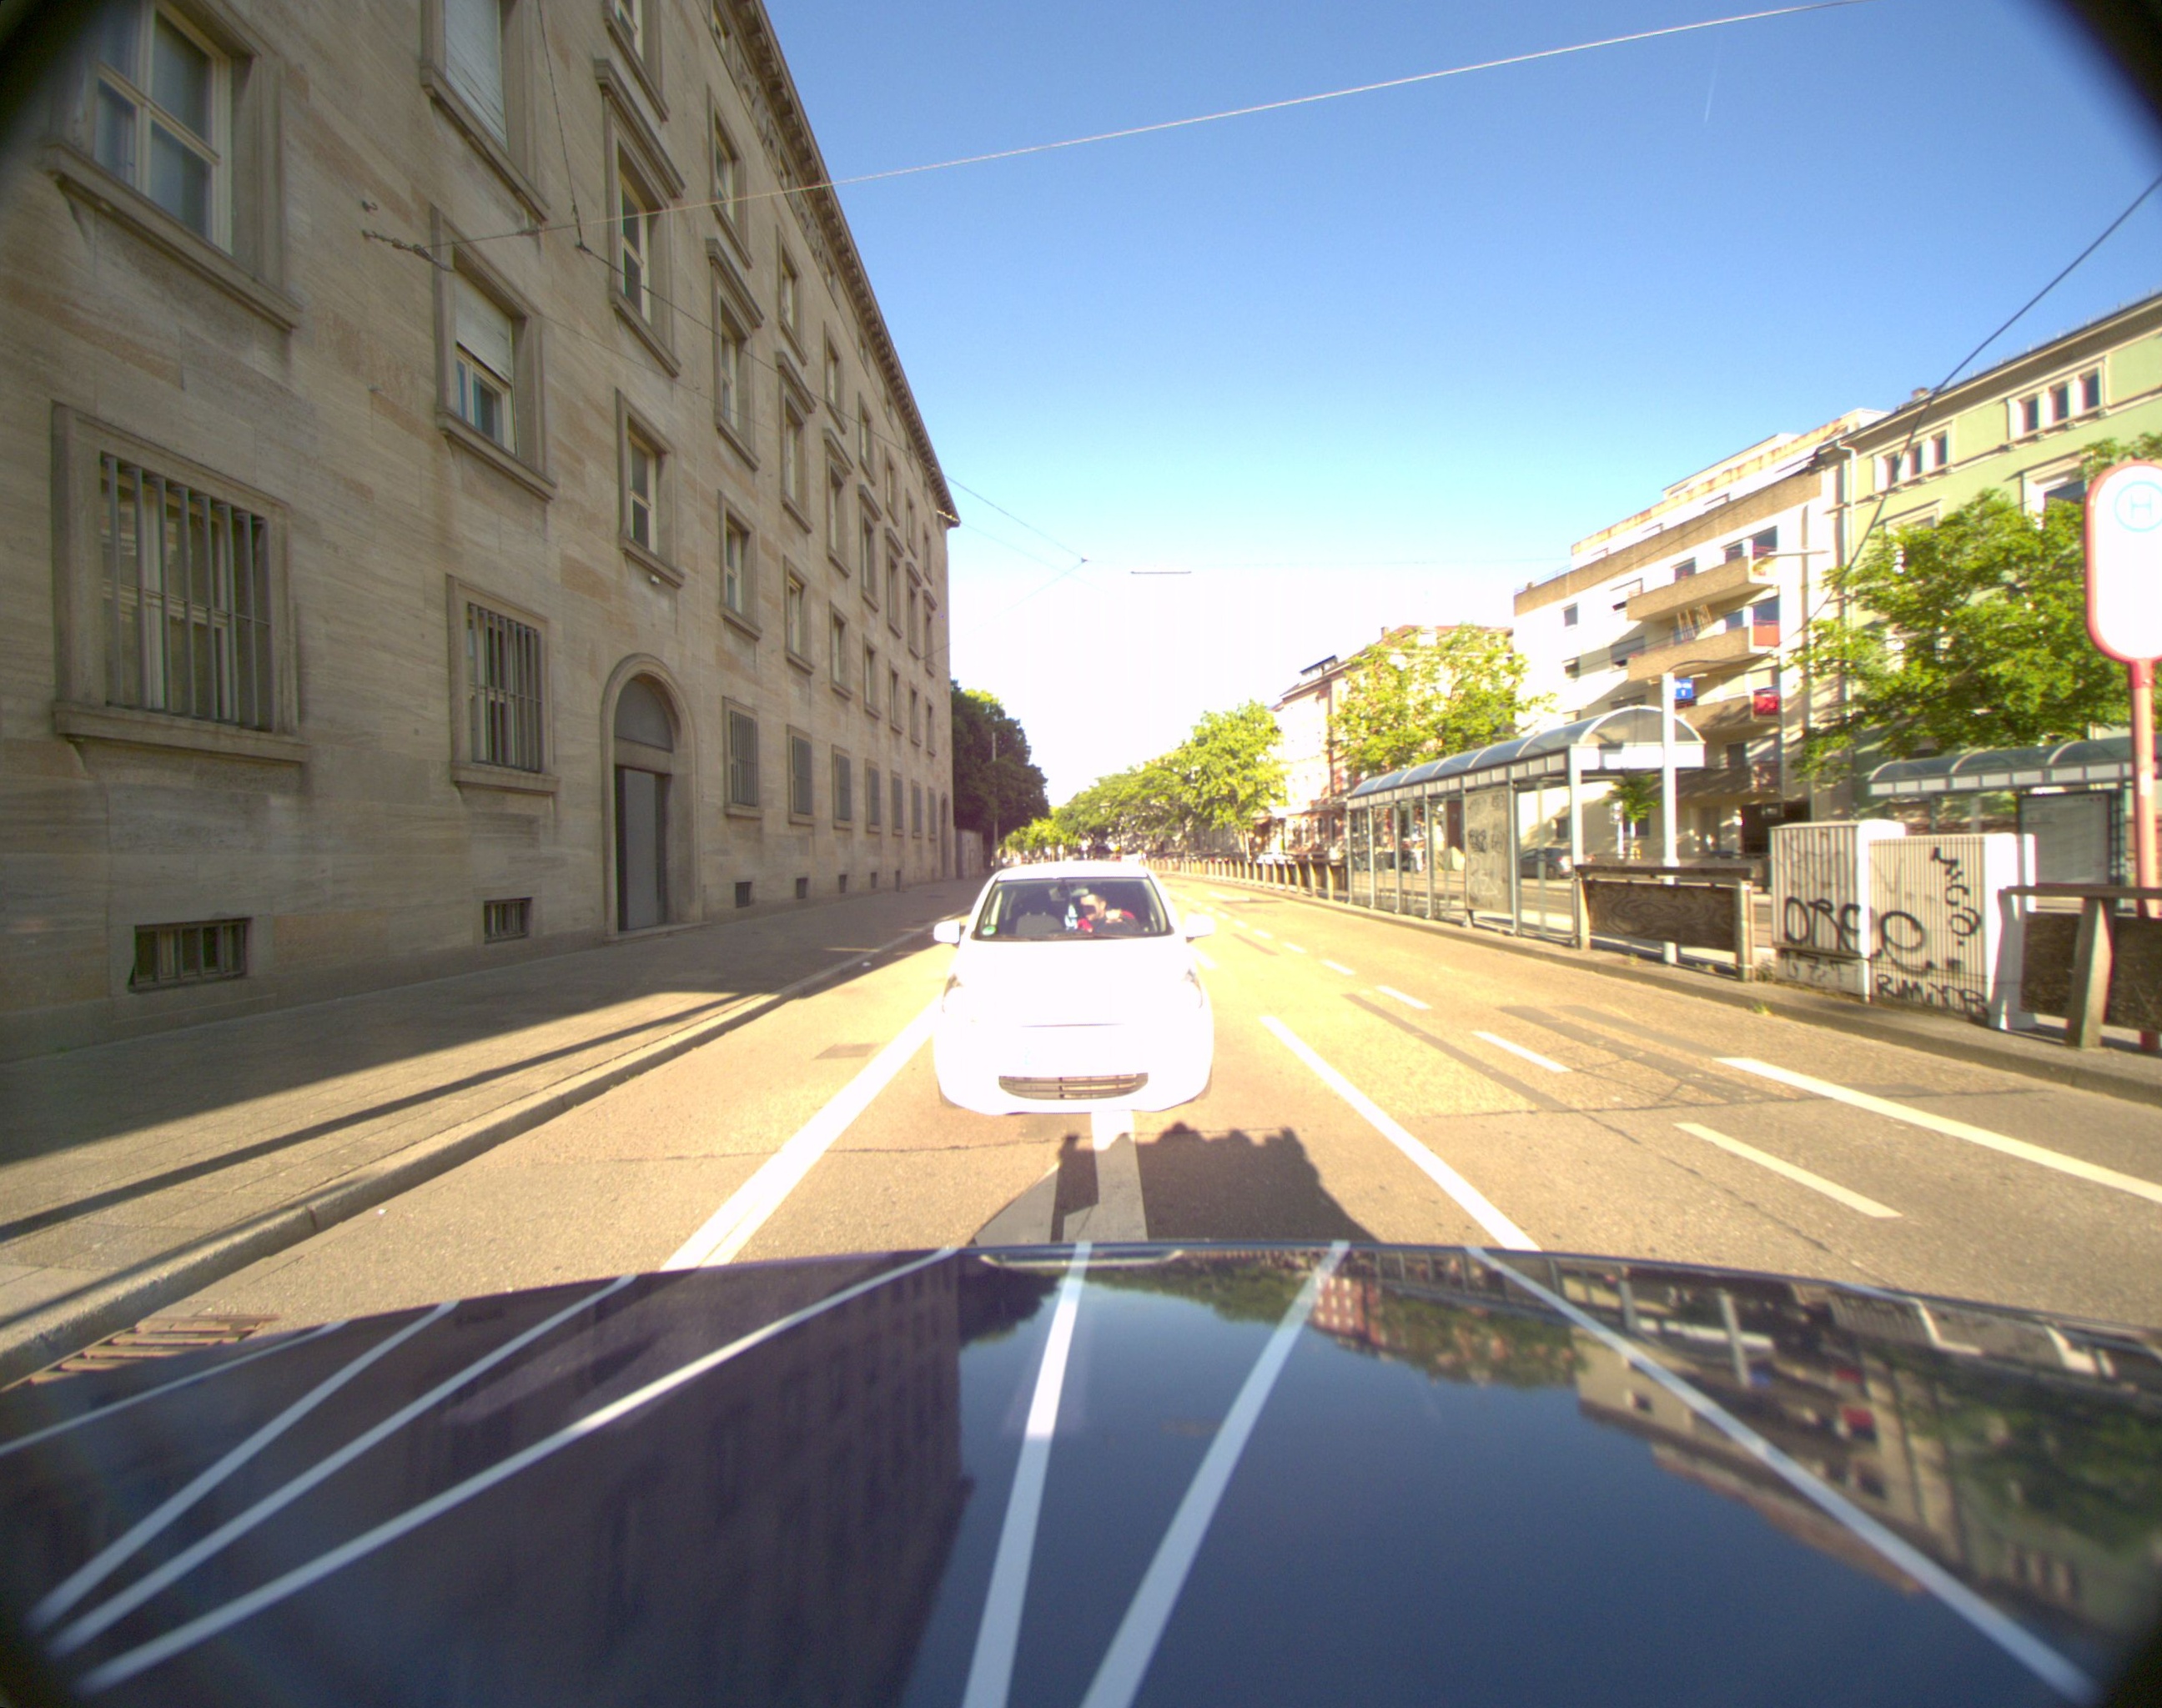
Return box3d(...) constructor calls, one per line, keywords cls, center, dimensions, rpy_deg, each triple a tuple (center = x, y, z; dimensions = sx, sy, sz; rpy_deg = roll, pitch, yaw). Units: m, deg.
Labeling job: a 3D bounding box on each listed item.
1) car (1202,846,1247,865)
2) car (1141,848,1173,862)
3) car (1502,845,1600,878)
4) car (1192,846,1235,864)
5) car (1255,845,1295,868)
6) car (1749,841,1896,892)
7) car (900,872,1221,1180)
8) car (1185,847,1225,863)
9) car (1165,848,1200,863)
box3d(cls="car", center=(13.639, 0.129, 72.598), dimensions=(3.996, 1.674, 2.000), rpy_deg=(-1, 0, 4))
box3d(cls="car", center=(9.567, 0.131, 95.721), dimensions=(3.864, 1.583, 2.001), rpy_deg=(-1, 0, 4))
box3d(cls="car", center=(20.847, 0.316, 33.839), dimensions=(1.615, 1.387, 3.516), rpy_deg=(-1, 0, -19))
box3d(cls="car", center=(13.353, 0.114, 76.732), dimensions=(3.996, 1.674, 2.000), rpy_deg=(-1, 0, 4))
box3d(cls="car", center=(16.306, 0.164, 63.682), dimensions=(1.994, 1.713, 4.007), rpy_deg=(0, 2, 34))
box3d(cls="car", center=(23.935, 0.369, 24.556), dimensions=(3.796, 1.526, 1.772), rpy_deg=(-1, 0, -17))
box3d(cls="car", center=(-0.078, 0.924, 5.705), dimensions=(1.612, 1.450, 3.667), rpy_deg=(-1, 0, 1))
box3d(cls="car", center=(13.160, 0.086, 80.535), dimensions=(3.996, 1.674, 2.000), rpy_deg=(-1, 0, 4))
box3d(cls="car", center=(11.439, 0.145, 86.095), dimensions=(3.864, 1.583, 2.001), rpy_deg=(-1, 0, 5))
